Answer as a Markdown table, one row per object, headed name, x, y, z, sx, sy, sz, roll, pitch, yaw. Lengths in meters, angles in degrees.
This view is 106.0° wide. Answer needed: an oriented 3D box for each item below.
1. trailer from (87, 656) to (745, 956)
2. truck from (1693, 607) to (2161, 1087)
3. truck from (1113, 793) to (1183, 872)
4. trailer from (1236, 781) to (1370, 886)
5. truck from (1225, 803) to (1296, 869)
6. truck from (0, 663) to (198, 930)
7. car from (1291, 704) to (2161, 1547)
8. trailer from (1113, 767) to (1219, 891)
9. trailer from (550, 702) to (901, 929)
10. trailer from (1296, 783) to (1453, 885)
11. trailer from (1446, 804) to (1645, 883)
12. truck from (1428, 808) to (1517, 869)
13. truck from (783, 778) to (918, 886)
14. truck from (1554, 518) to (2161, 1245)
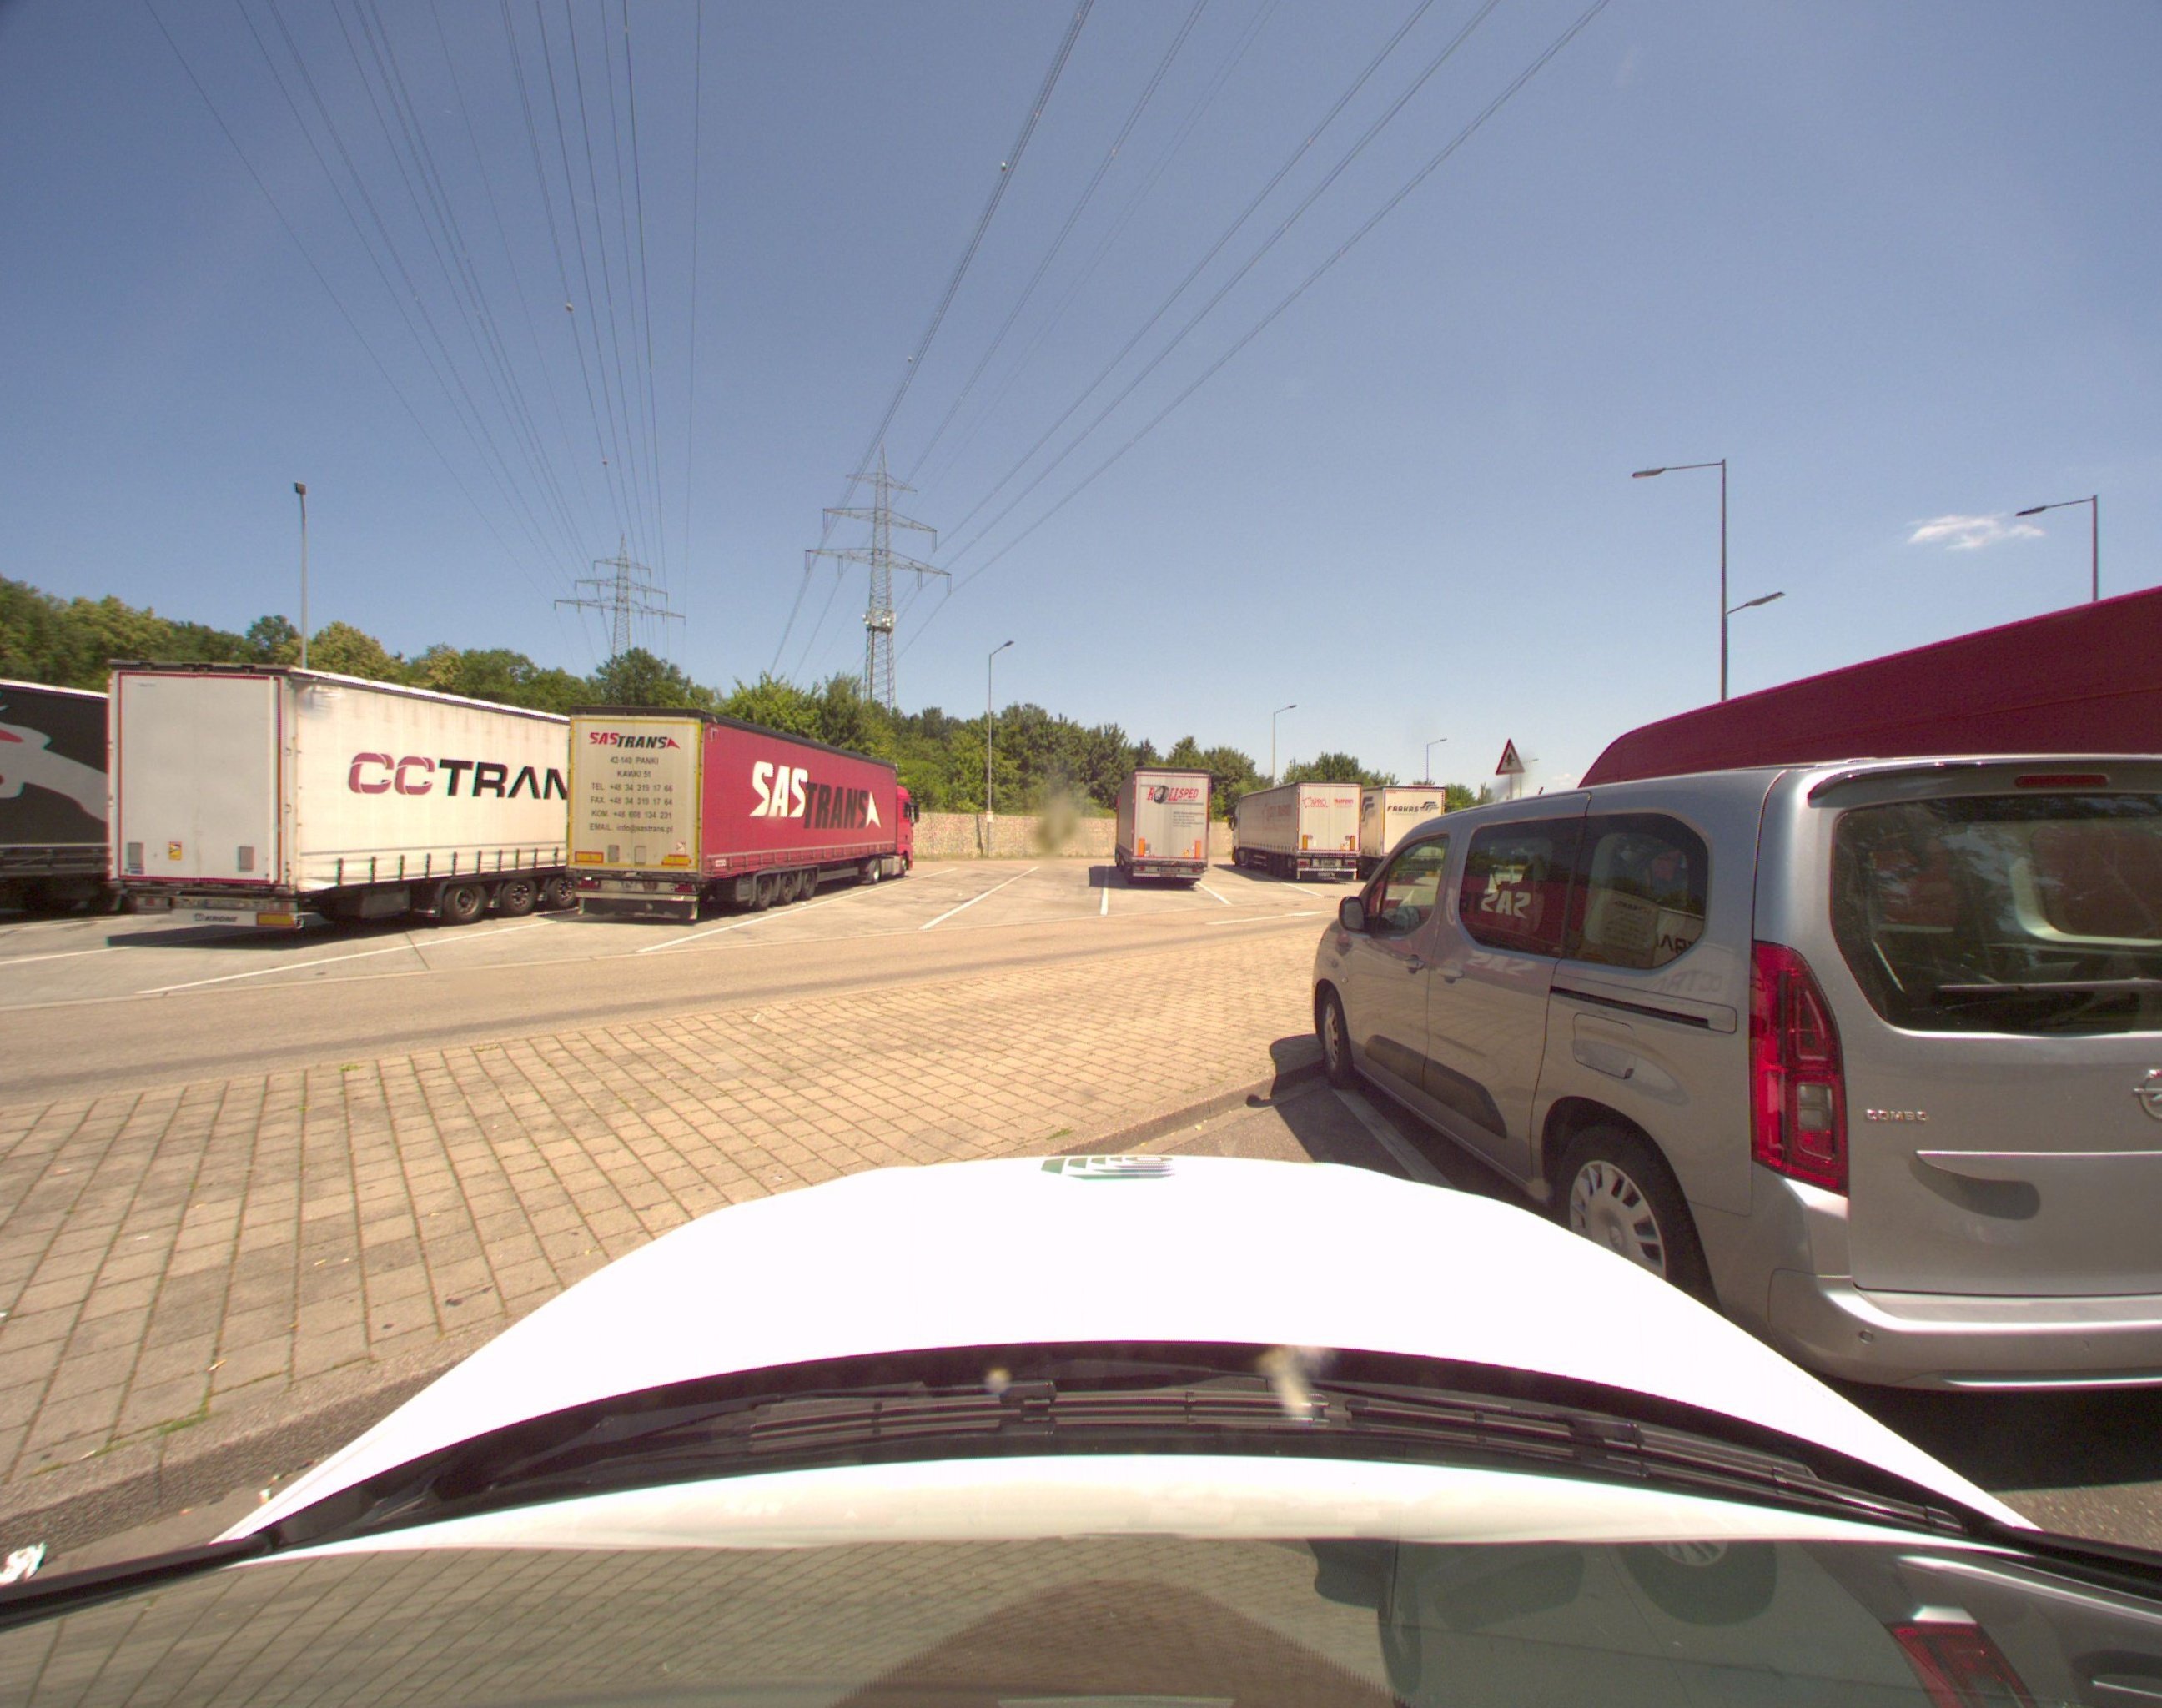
| name | x | y | z | sx | sy | sz | roll | pitch | yaw |
| --- | --- | --- | --- | --- | --- | --- | --- | --- | --- |
| trailer | -12.136 | -0.914 | 18.348 | 2.785 | 4.084 | 14.139 | 1 | 2 | 2 |
| truck | 7.983 | -0.038 | 6.468 | 2.444 | 2.912 | 5.663 | -1 | -1 | 7 |
| truck | 3.221 | -1.087 | 40.602 | 3.092 | 3.566 | 5.903 | 1 | 2 | 2 |
| trailer | 9.921 | -1.051 | 38.657 | 2.801 | 3.989 | 14.403 | 1 | 2 | 2 |
| truck | 10.183 | -1.082 | 46.758 | 2.852 | 3.521 | 5.903 | 1 | 2 | 2 |
| truck | -18.548 | -0.971 | 13.796 | 2.726 | 4.239 | 3.997 | 1 | 2 | 2 |
| car | 2.481 | 0.574 | 3.896 | 1.864 | 1.863 | 4.176 | 1 | 1 | 0 |
| trailer | 3.055 | -1.070 | 33.708 | 3.122 | 3.989 | 14.401 | 1 | 2 | 1 |
| trailer | -8.072 | -0.951 | 21.918 | 2.781 | 4.084 | 14.139 | 1 | 2 | 2 |
| trailer | 13.594 | -1.043 | 39.620 | 2.801 | 3.989 | 14.403 | 1 | 2 | 2 |
| trailer | 24.091 | -0.741 | 43.767 | 2.801 | 3.507 | 14.403 | 1 | 2 | 2 |
| truck | 24.347 | -1.014 | 50.998 | 2.792 | 3.521 | 5.903 | 1 | 2 | 2 |
| truck | -7.824 | -0.789 | 28.488 | 2.840 | 3.327 | 5.903 | 1 | 2 | 2 |
| truck | 5.127 | 0.118 | 4.920 | 1.968 | 2.622 | 5.314 | 0 | -1 | 7 |
